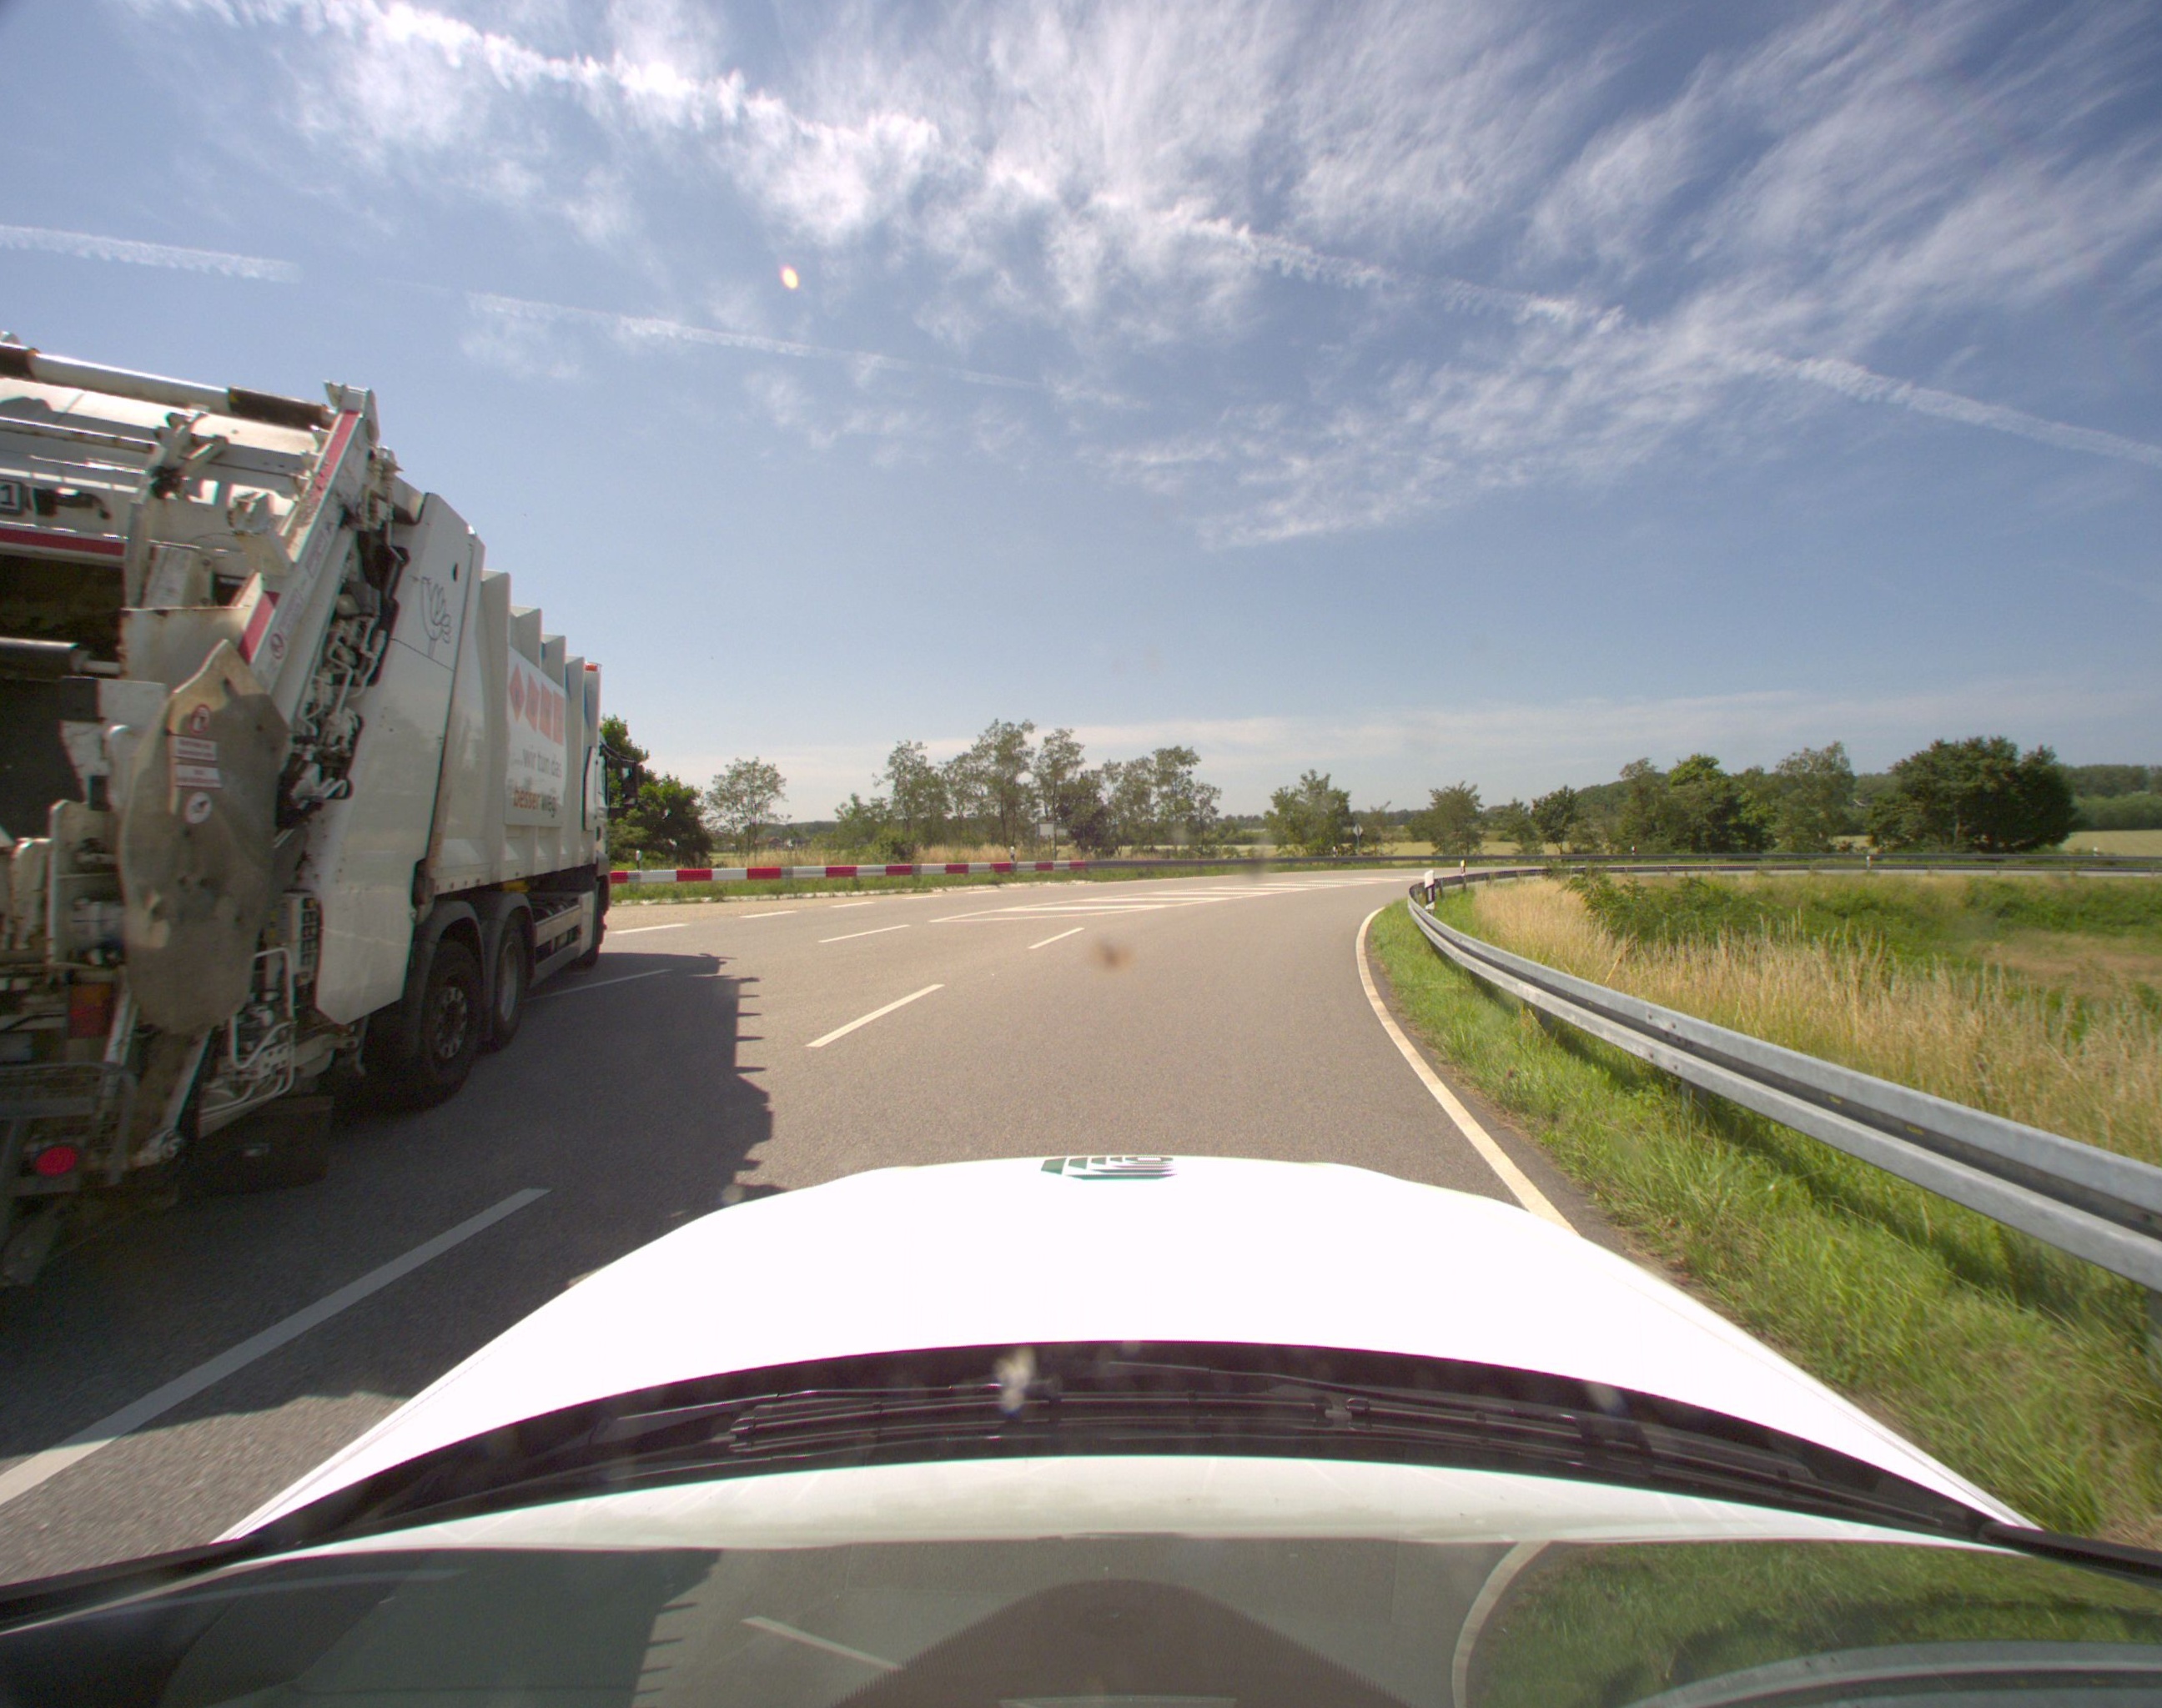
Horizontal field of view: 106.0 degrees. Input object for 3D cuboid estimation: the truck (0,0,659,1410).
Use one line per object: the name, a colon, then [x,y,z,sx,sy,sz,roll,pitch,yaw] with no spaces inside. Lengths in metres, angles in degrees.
truck: [-5.522,-0.477,6.331,2.823,3.669,9.878,1,0,-21]
